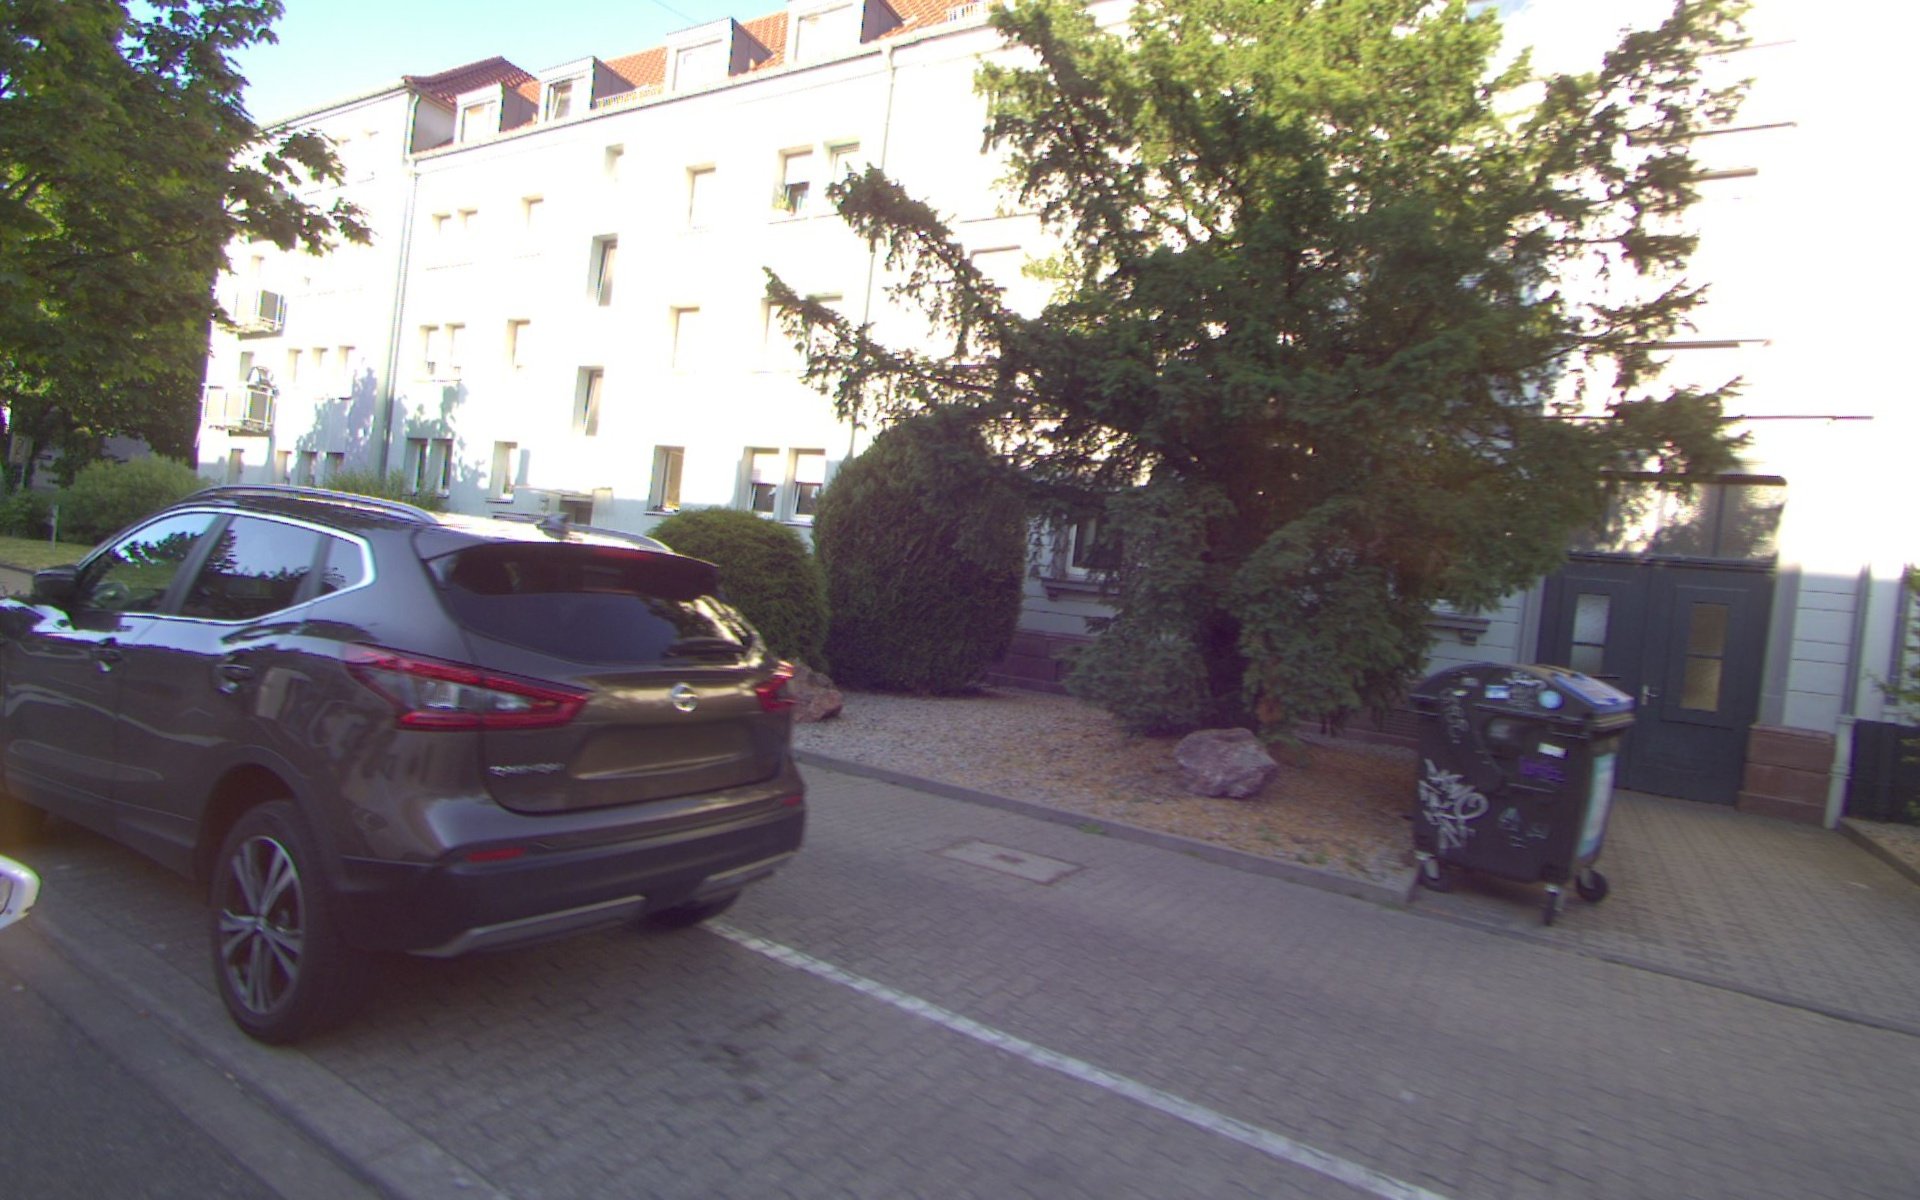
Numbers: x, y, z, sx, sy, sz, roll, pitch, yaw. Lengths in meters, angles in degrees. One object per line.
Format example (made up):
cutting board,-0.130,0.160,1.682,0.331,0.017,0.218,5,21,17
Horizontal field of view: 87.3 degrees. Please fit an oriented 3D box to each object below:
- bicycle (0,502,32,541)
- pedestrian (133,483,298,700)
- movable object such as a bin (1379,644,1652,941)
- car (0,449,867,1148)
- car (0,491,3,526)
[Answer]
bicycle,-25.950,-2.159,27.425,1.652,0.956,0.475,7,1,31
pedestrian,-6.330,-0.065,8.560,0.795,1.721,0.788,6,0,36
movable object such as a bin,3.517,1.106,6.347,1.123,1.512,1.264,7,3,42
car,-2.591,0.371,4.197,4.028,1.621,1.720,7,0,32
car,-10.736,-0.475,9.389,3.893,1.485,1.614,7,1,32
